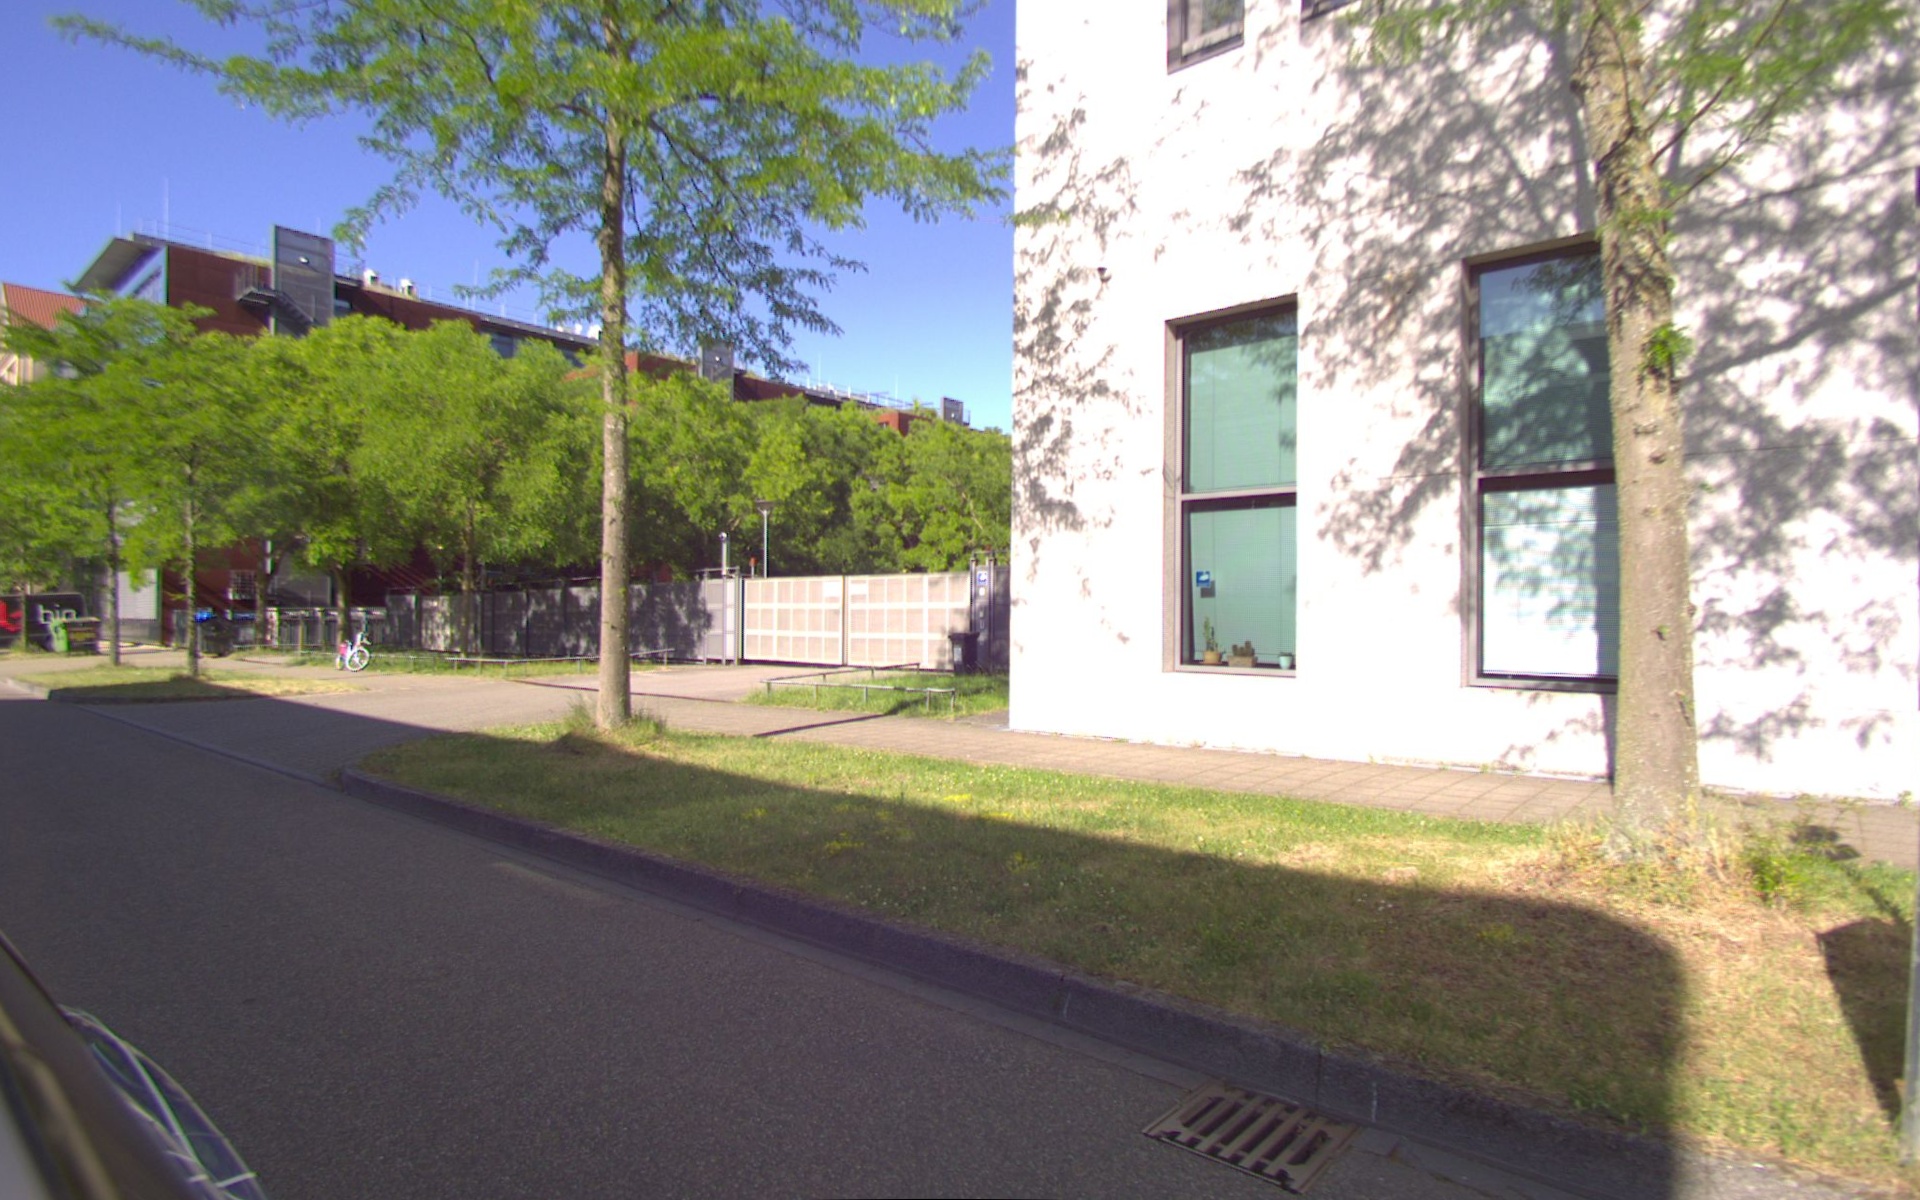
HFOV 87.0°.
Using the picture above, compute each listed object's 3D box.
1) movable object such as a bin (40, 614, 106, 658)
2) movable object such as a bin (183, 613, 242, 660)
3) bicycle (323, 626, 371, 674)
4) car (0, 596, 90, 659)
[{"bbox_3d":[-32.751,1.305,37.387,1.342,1.580,1.508,-1,-1,31],"label":"movable object such as a bin"},{"bbox_3d":[-26.156,1.251,35.412,1.501,1.580,1.348,0,-1,-44],"label":"movable object such as a bin"},{"bbox_3d":[-15.986,1.276,26.395,1.727,1.201,0.594,-1,-1,42],"label":"bicycle"},{"bbox_3d":[-40.296,1.187,42.509,1.985,2.560,5.420,-1,1,40],"label":"car"}]
